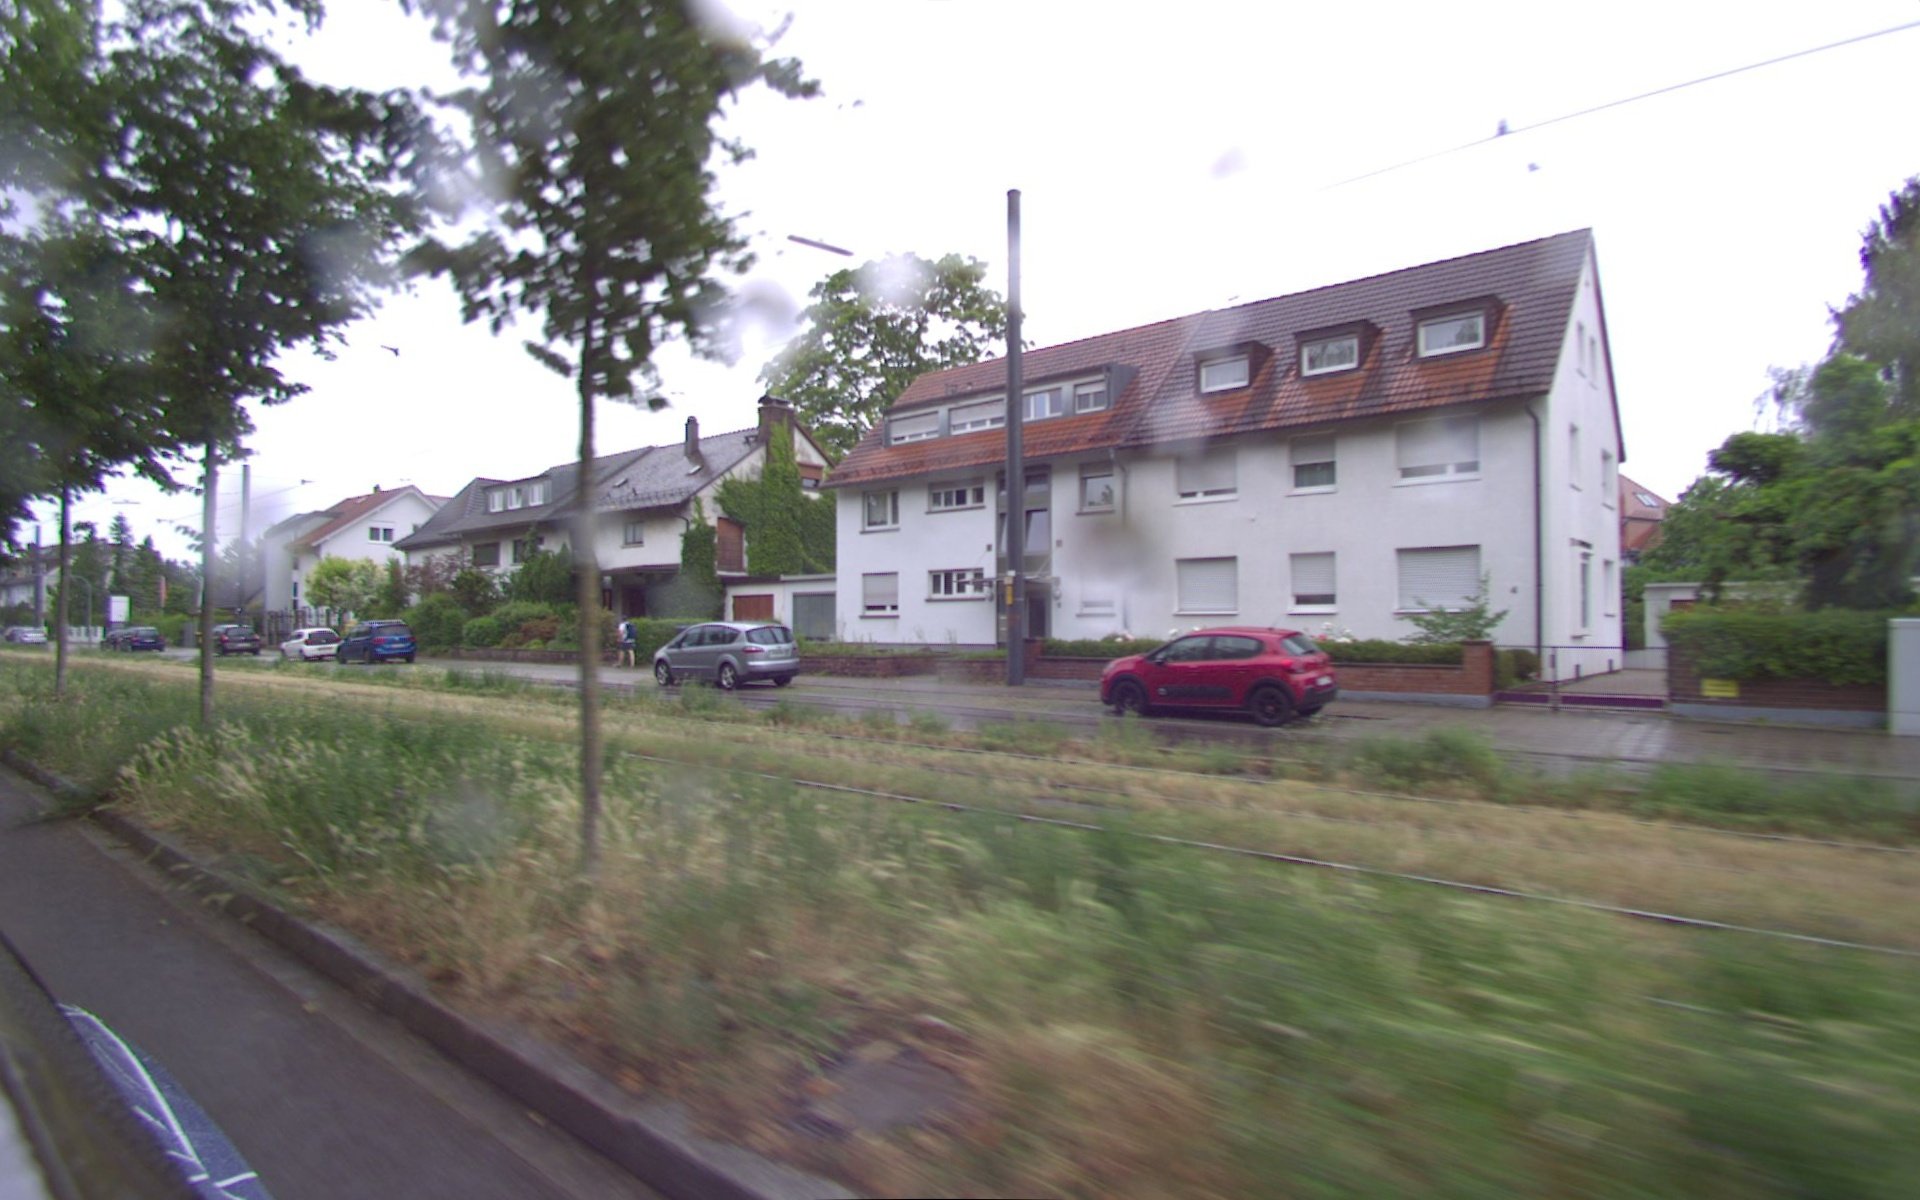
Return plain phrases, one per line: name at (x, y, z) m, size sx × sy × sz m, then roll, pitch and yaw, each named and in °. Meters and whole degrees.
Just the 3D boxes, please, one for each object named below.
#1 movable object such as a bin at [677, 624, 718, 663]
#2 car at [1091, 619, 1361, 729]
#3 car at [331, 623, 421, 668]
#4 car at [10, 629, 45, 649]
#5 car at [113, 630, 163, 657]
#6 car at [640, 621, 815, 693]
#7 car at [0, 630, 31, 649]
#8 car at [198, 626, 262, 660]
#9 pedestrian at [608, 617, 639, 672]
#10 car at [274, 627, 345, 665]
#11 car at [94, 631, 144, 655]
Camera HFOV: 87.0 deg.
movable object such as a bin at (-9.185, 1.527, 35.489) m, size 0.739 × 1.307 × 1.172 m, roll -2°, pitch -1°, yaw 41°
car at (4.379, 1.147, 16.988) m, size 3.971 × 1.558 × 1.822 m, roll -2°, pitch 0°, yaw 42°
car at (-23.888, 1.809, 41.349) m, size 4.178 × 1.719 × 1.826 m, roll -1°, pitch -1°, yaw 39°
car at (-78.285, 3.248, 84.950) m, size 3.851 × 1.527 × 1.737 m, roll -1°, pitch 1°, yaw 40°
car at (-51.892, 2.720, 63.884) m, size 3.851 × 1.527 × 1.737 m, roll -1°, pitch 1°, yaw 40°
car at (-5.964, 1.386, 25.678) m, size 4.682 × 1.626 × 1.972 m, roll -2°, pitch -1°, yaw 42°
car at (-81.974, 3.374, 87.620) m, size 3.851 × 1.527 × 1.737 m, roll -1°, pitch 1°, yaw 40°
car at (-38.241, 2.214, 52.992) m, size 4.108 × 1.626 × 1.737 m, roll -1°, pitch 1°, yaw 40°
pedestrian at (-11.058, 1.443, 33.268) m, size 0.868 × 1.781 × 0.592 m, roll -2°, pitch -1°, yaw 41°
car at (-29.375, 2.052, 45.676) m, size 3.598 × 1.540 × 1.696 m, roll -1°, pitch 1°, yaw 40°
car at (-55.392, 2.831, 66.637) m, size 3.998 × 1.510 × 1.869 m, roll -1°, pitch -3°, yaw 41°
